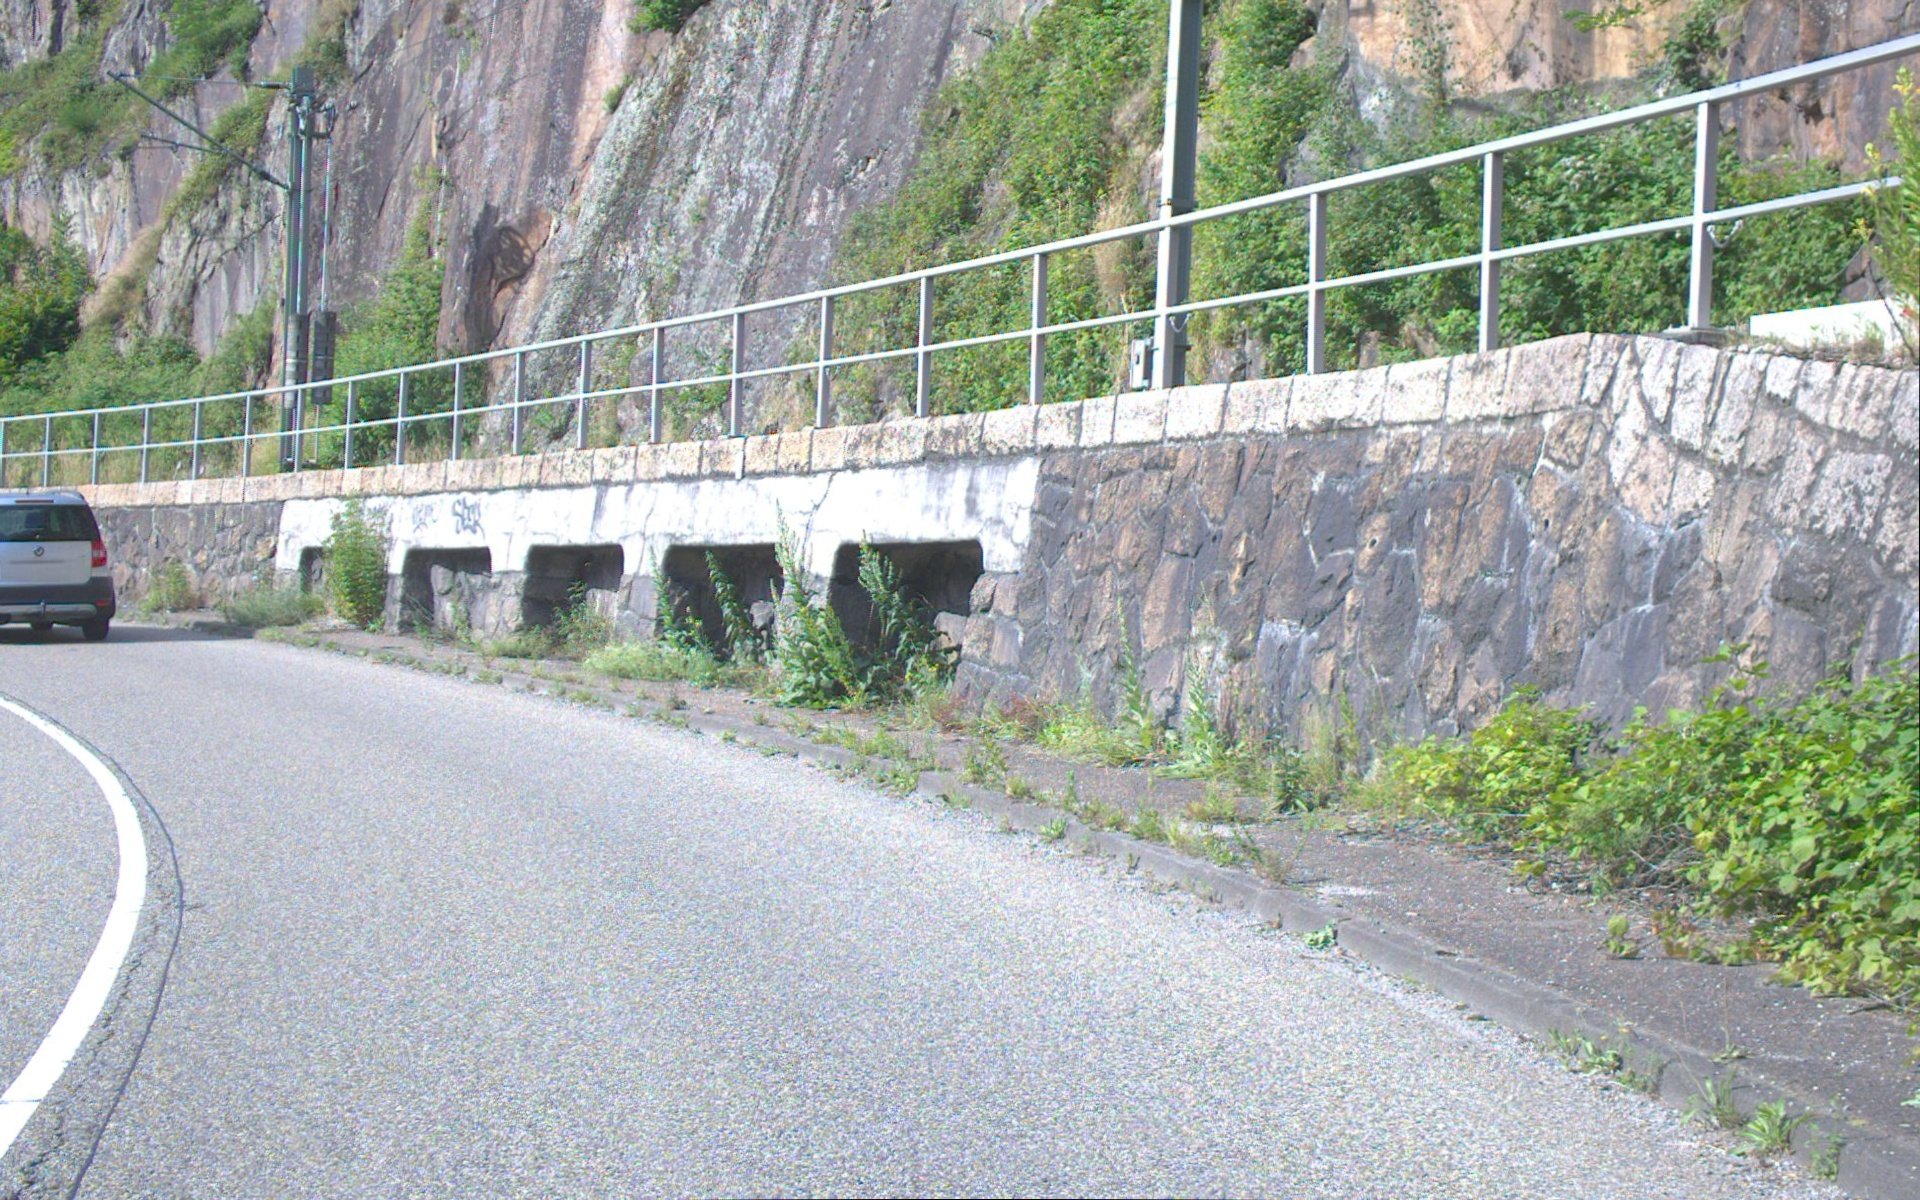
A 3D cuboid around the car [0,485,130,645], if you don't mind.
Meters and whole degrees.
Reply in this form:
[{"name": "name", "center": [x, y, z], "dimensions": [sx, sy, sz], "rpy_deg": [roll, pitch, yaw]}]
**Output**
[{"name": "car", "center": [-10.721, -0.438, 38.530], "dimensions": [1.872, 1.650, 4.001], "rpy_deg": [-1, 3, -27]}]
